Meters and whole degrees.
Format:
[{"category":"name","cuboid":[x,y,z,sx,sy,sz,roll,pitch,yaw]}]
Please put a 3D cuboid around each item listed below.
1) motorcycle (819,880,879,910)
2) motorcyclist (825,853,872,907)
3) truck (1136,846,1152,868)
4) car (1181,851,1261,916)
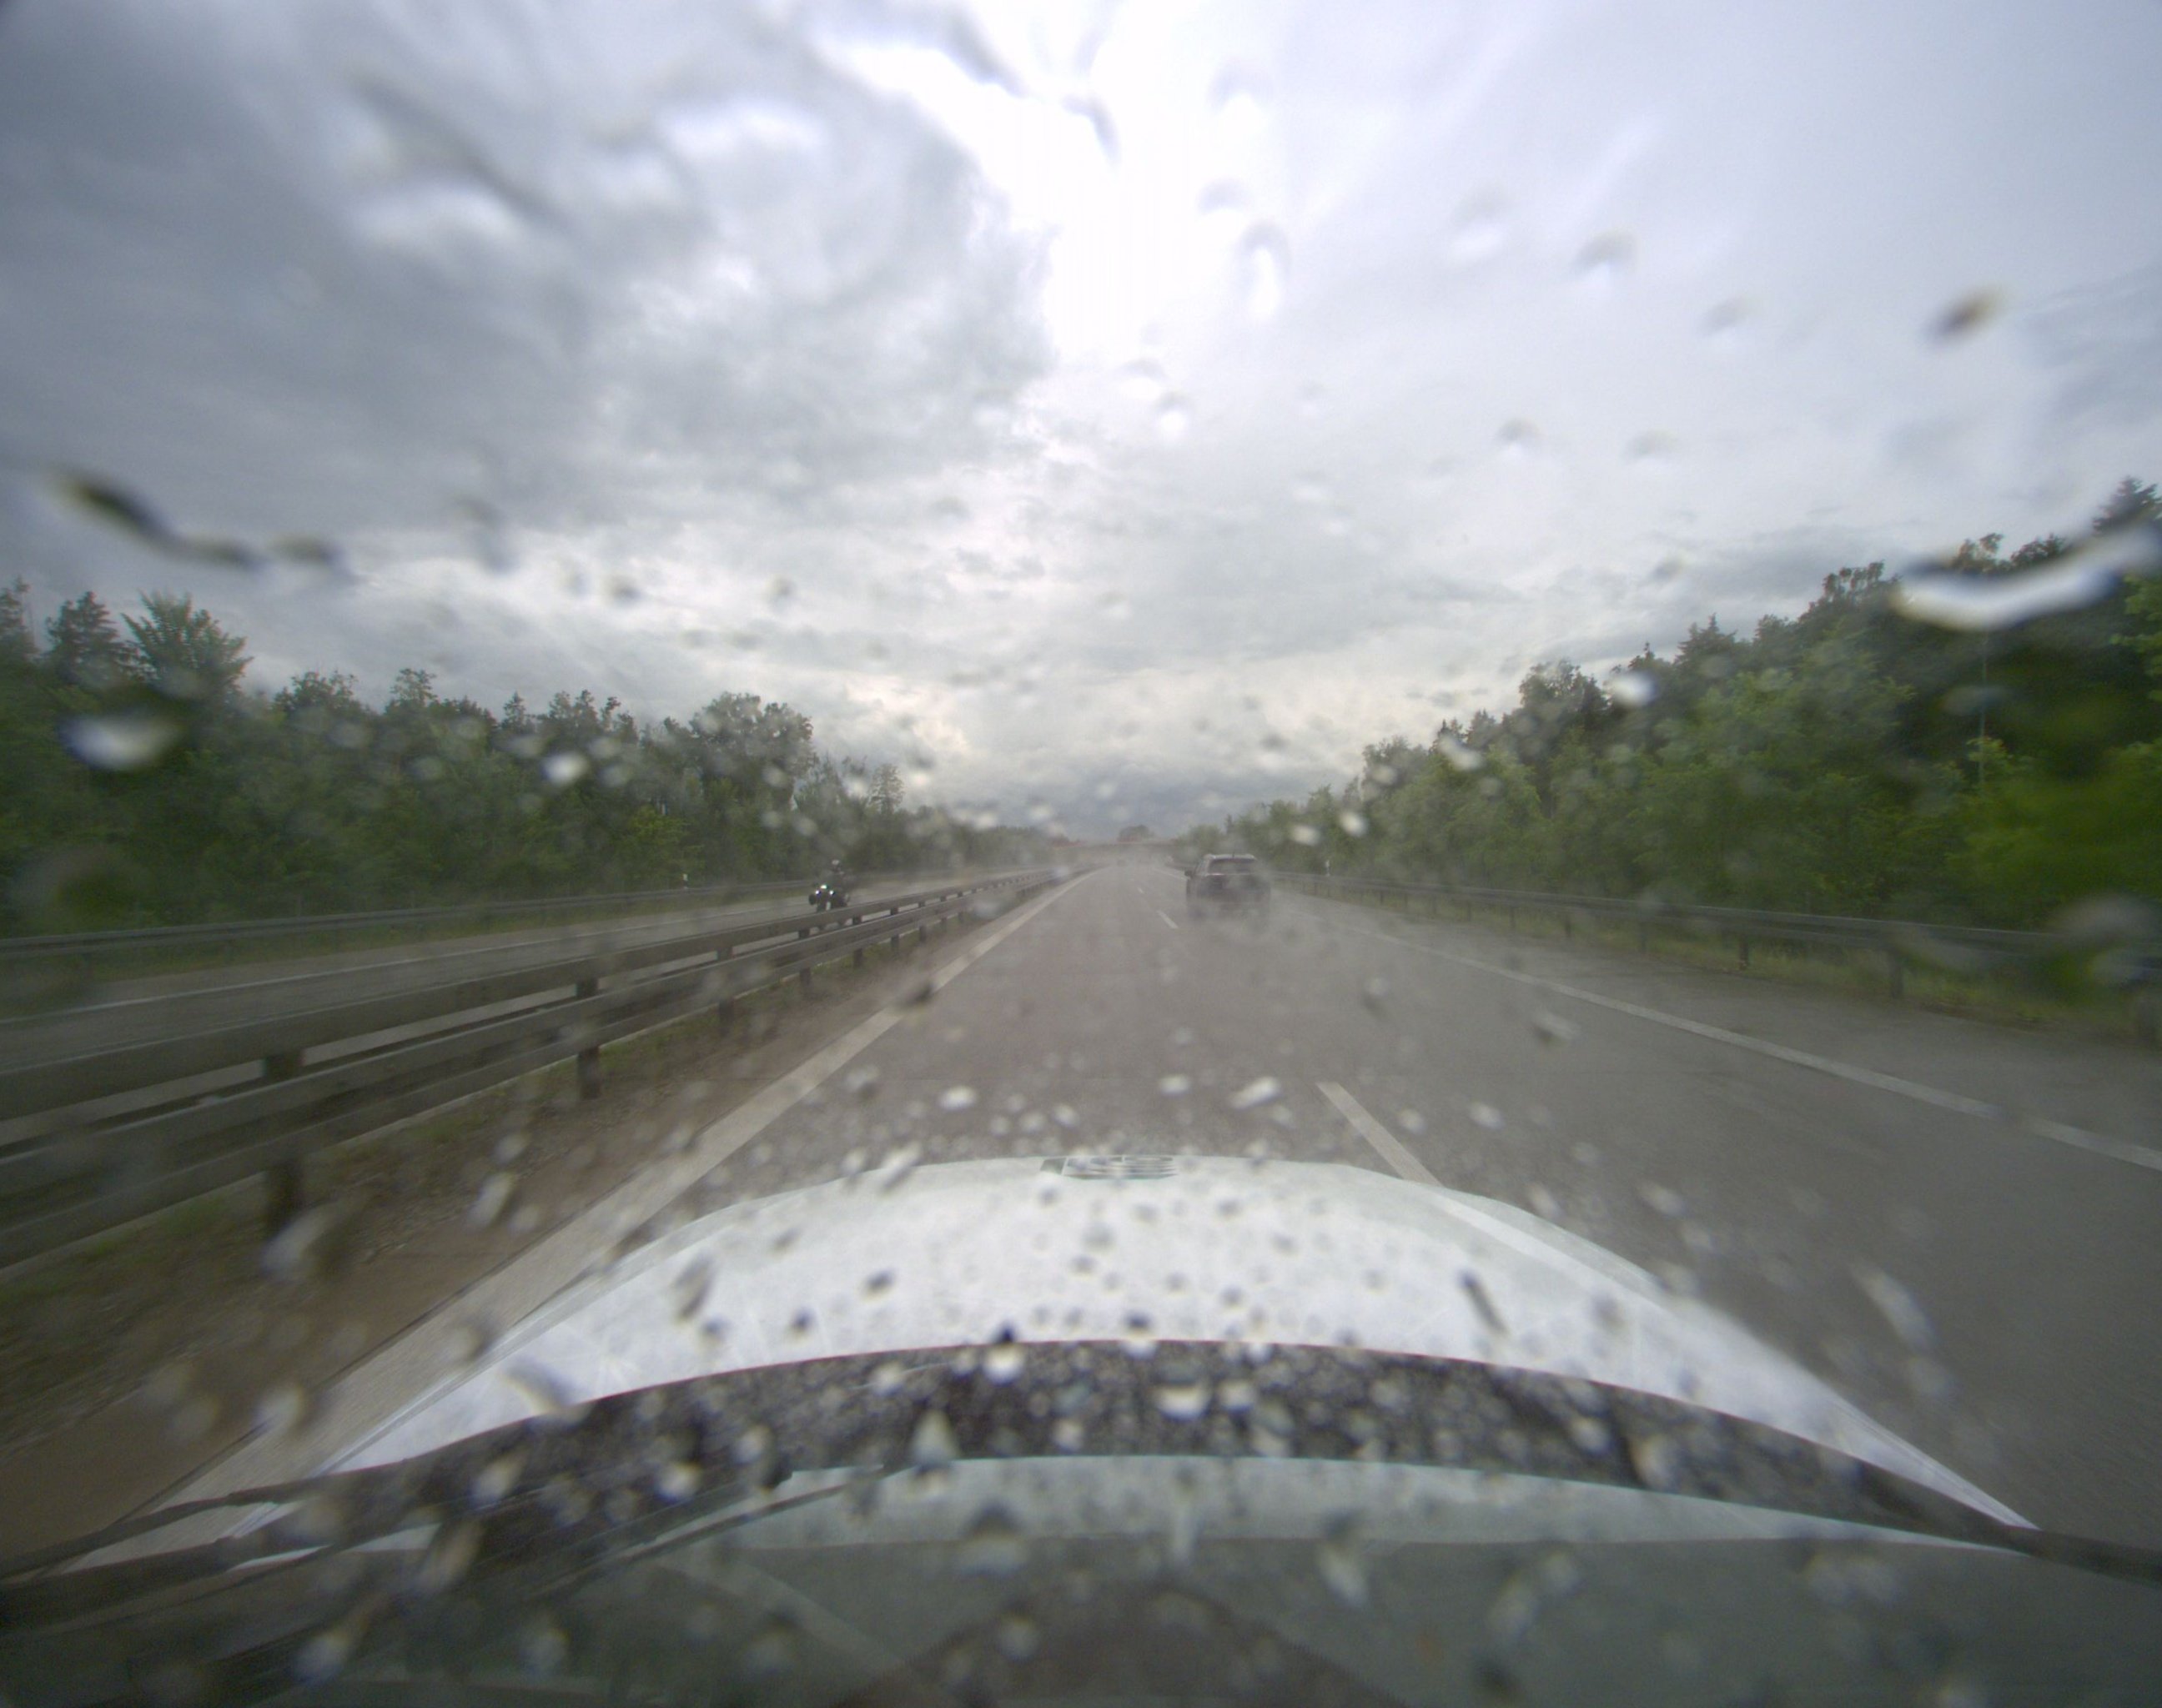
[{"category":"motorcycle","cuboid":[-6.368,1.117,22.457,1.018,0.725,2.279,0,0,-1]},{"category":"motorcyclist","cuboid":[-6.371,0.708,22.378,1.011,1.432,0.920,0,-1,-1]},{"category":"truck","cuboid":[13.220,0.574,171.827,3.229,4.437,8.254,-1,0,4]},{"category":"car","cuboid":[3.667,0.744,21.873,1.884,1.576,3.638,-1,-1,6]}]
